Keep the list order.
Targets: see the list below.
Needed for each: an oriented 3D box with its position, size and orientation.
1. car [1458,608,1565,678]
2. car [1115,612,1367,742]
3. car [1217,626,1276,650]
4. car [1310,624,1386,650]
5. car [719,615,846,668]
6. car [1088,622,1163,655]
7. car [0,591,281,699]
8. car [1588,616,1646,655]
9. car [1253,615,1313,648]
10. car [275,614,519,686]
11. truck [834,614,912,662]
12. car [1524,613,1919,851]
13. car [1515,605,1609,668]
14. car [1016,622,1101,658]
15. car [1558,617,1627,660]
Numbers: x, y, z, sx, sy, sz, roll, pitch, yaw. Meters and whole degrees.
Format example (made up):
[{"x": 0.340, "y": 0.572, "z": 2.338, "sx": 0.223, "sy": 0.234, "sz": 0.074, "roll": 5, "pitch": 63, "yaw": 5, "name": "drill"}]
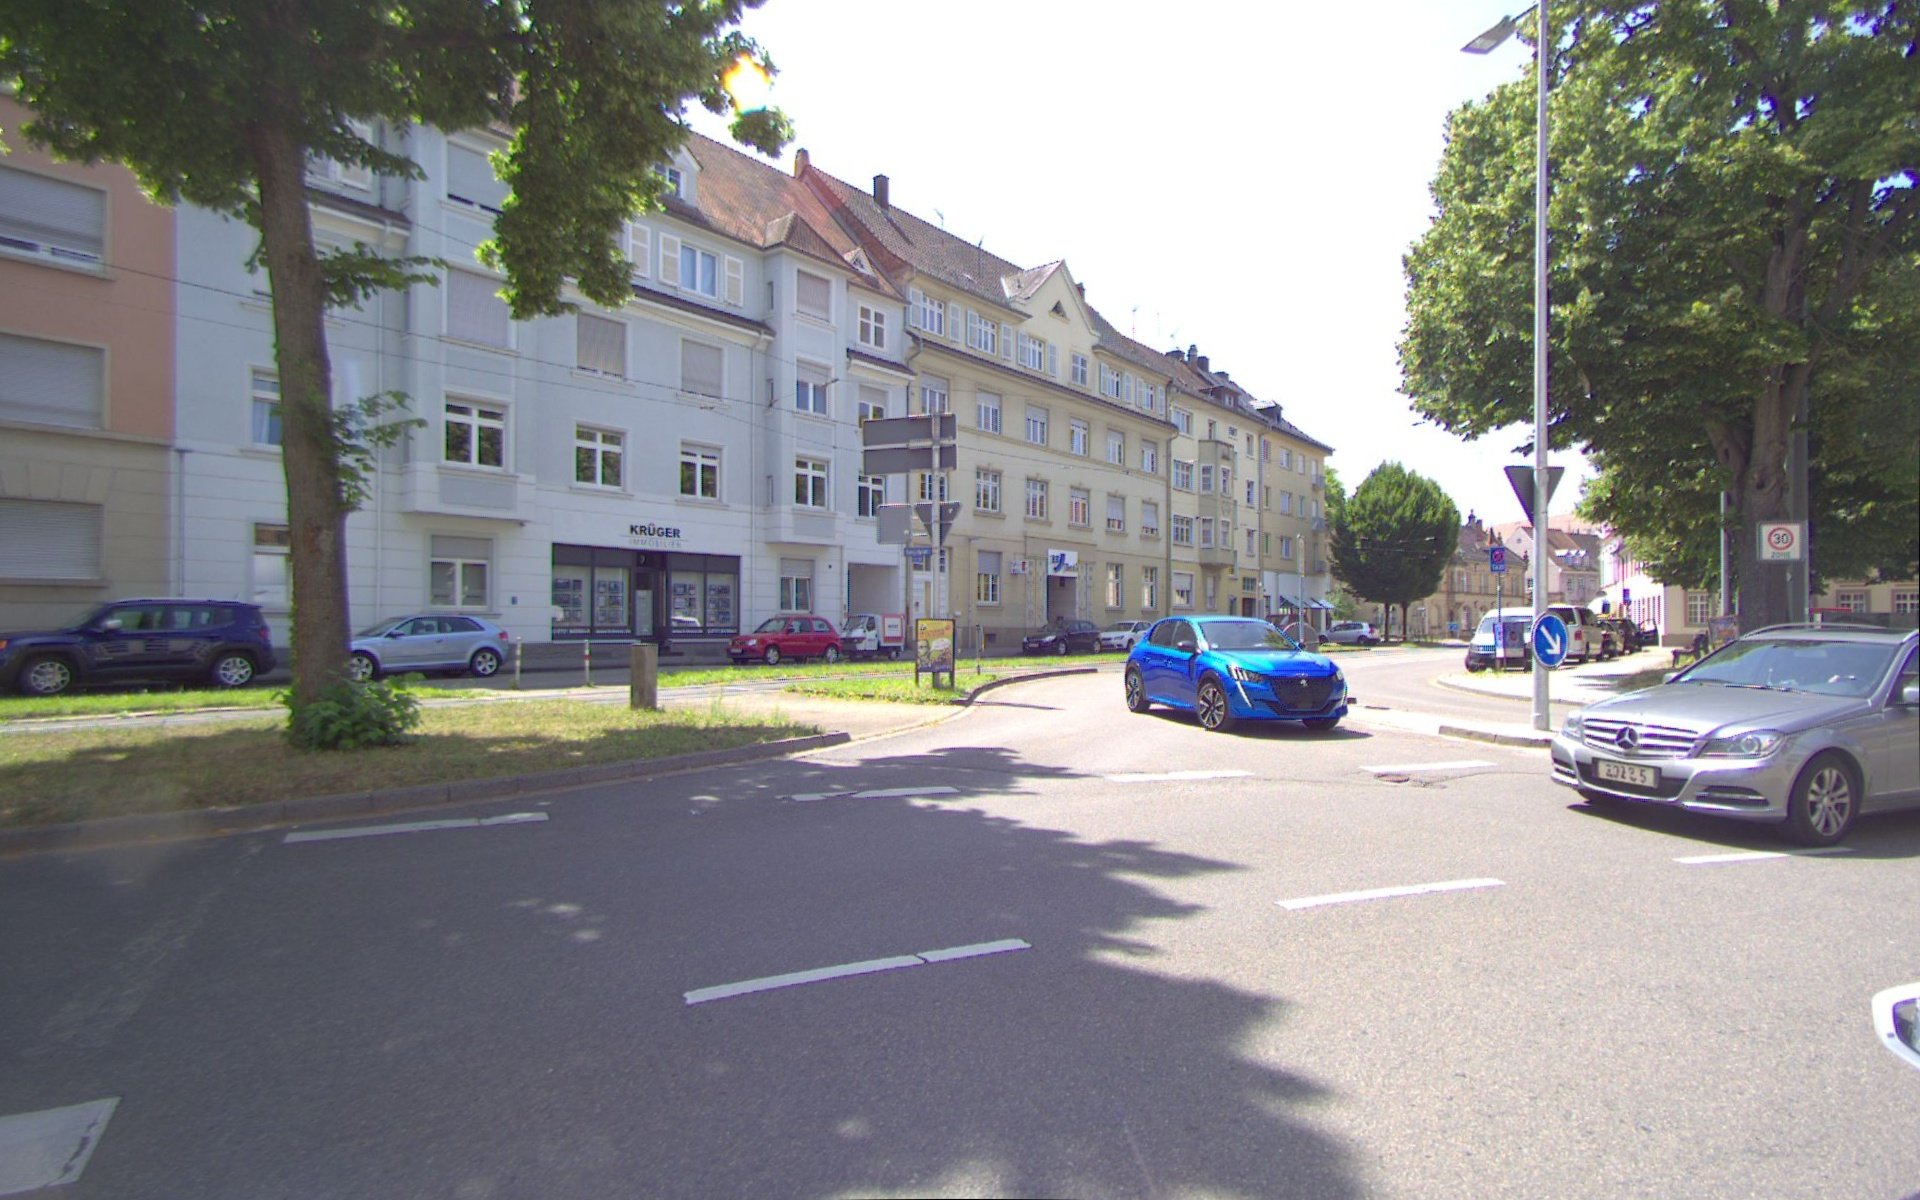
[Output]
[{"x": 15.794, "y": 1.176, "z": 28.664, "sx": 1.969, "sy": 1.850, "sz": 4.403, "roll": 0, "pitch": -1, "yaw": 39, "name": "car"}, {"x": 3.669, "y": 0.924, "z": 13.916, "sx": 1.783, "sy": 1.512, "sz": 3.992, "roll": 0, "pitch": -1, "yaw": -11, "name": "car"}, {"x": 16.201, "y": 2.110, "z": 56.649, "sx": 1.622, "sy": 1.294, "sz": 4.245, "roll": -3, "pitch": -3, "yaw": 39, "name": "car"}, {"x": 24.604, "y": 2.369, "z": 63.721, "sx": 4.148, "sy": 1.524, "sz": 1.997, "roll": -3, "pitch": -3, "yaw": 36, "name": "car"}, {"x": -5.218, "y": 1.223, "z": 29.865, "sx": 1.553, "sy": 1.470, "sz": 3.610, "roll": -3, "pitch": -3, "yaw": 39, "name": "car"}, {"x": 7.591, "y": 1.757, "z": 45.861, "sx": 1.666, "sy": 1.408, "sz": 3.840, "roll": -3, "pitch": -3, "yaw": 39, "name": "car"}, {"x": -14.809, "y": 0.791, "z": 17.940, "sx": 1.814, "sy": 1.707, "sz": 4.124, "roll": -3, "pitch": -3, "yaw": 39, "name": "car"}, {"x": 30.268, "y": 1.619, "z": 46.226, "sx": 1.762, "sy": 1.715, "sz": 4.180, "roll": 0, "pitch": -1, "yaw": 40, "name": "car"}, {"x": 19.562, "y": 1.897, "z": 60.690, "sx": 1.831, "sy": 1.936, "sz": 4.750, "roll": -3, "pitch": -3, "yaw": 39, "name": "car"}, {"x": -11.961, "y": 1.044, "z": 21.582, "sx": 1.785, "sy": 1.374, "sz": 4.232, "roll": -3, "pitch": -3, "yaw": 39, "name": "car"}, {"x": -2.856, "y": 1.258, "z": 33.172, "sx": 1.112, "sy": 1.514, "sz": 2.584, "roll": -3, "pitch": -3, "yaw": 38, "name": "truck"}, {"x": 6.834, "y": 0.885, "z": 7.864, "sx": 4.337, "sy": 1.508, "sz": 1.737, "roll": 1, "pitch": -1, "yaw": -17, "name": "car"}, {"x": 21.157, "y": 1.239, "z": 35.201, "sx": 2.025, "sy": 2.029, "sz": 5.223, "roll": 0, "pitch": -1, "yaw": 40, "name": "car"}, {"x": 4.121, "y": 1.645, "z": 41.532, "sx": 1.666, "sy": 1.378, "sz": 3.840, "roll": -3, "pitch": -3, "yaw": 39, "name": "car"}, {"x": 25.668, "y": 1.533, "z": 40.696, "sx": 1.762, "sy": 1.645, "sz": 4.464, "roll": 0, "pitch": -1, "yaw": 40, "name": "car"}]
